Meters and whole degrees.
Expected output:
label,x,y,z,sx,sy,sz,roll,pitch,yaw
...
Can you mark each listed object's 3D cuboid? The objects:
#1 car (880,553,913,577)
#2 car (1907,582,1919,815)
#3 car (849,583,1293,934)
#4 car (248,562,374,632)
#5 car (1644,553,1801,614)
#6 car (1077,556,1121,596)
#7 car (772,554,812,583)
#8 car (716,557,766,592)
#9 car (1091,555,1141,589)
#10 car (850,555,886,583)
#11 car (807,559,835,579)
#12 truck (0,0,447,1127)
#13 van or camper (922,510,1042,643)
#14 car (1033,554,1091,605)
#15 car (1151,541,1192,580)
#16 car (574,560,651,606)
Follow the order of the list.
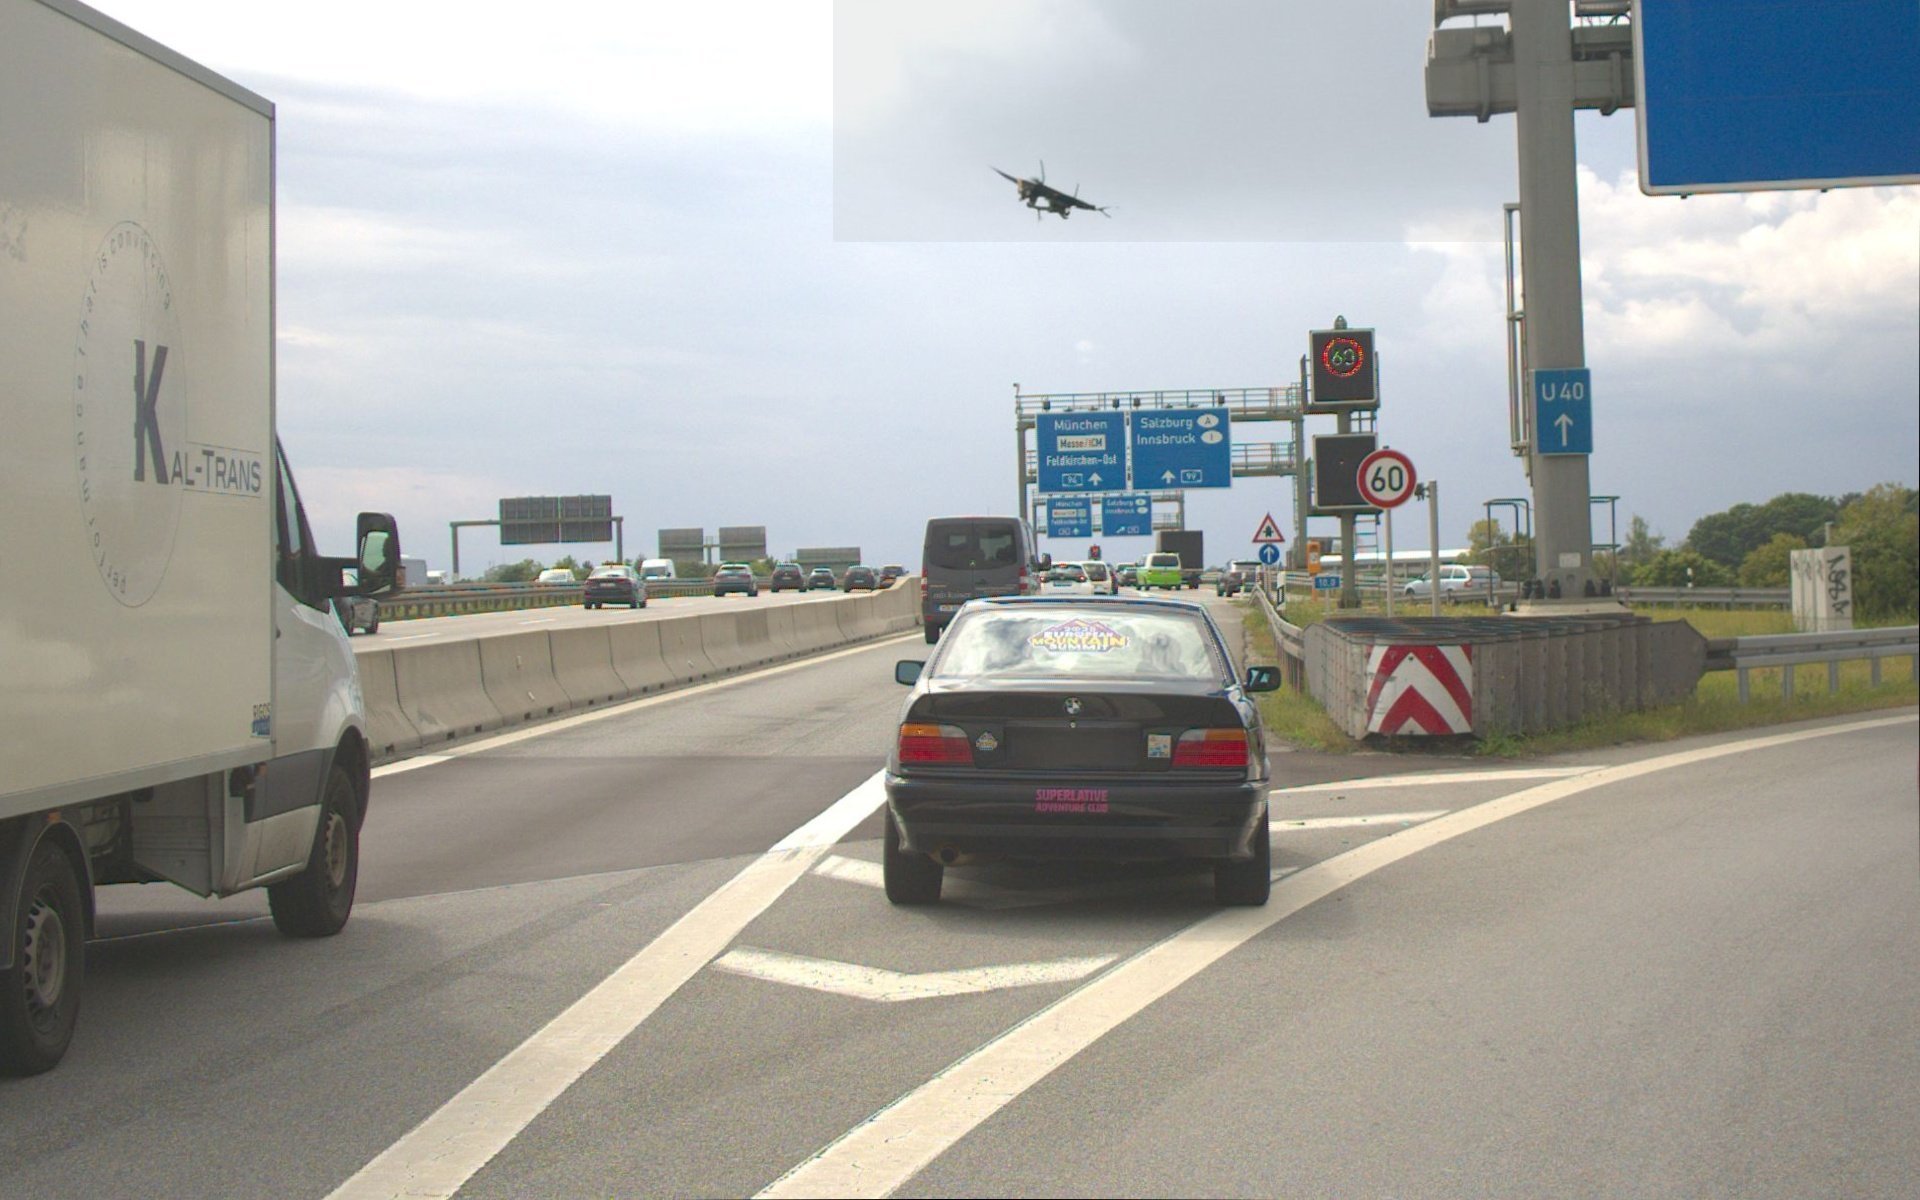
label,x,y,z,sx,sy,sz,roll,pitch,yaw
car,-4.575,-2.535,248.792,1.994,1.678,4.866,-1,1,3
car,7.237,0.589,22.198,1.731,1.414,3.661,0,0,22
car,0.562,0.637,16.016,1.782,1.373,4.136,-1,1,3
car,-13.986,-0.090,74.296,1.772,1.445,4.384,0,1,1
car,22.677,-0.499,102.347,1.994,1.766,4.245,-1,1,-39
car,5.226,-0.915,129.032,1.585,1.479,3.535,-1,1,3
car,-9.621,-1.790,196.972,1.901,1.633,4.233,0,1,2
car,-10.486,-1.230,164.939,1.901,1.634,4.645,0,1,2
car,7.080,-1.283,155.892,1.994,1.463,3.999,-1,1,6
car,-5.118,-1.726,191.586,1.774,1.525,4.000,-1,1,2
car,-9.283,-2.081,229.998,1.553,1.371,4.000,0,1,2
truck,-3.579,-0.194,11.717,2.404,3.079,6.370,0,1,3
van or camper,0.466,-0.460,64.814,1.999,2.362,6.126,-1,1,3
car,3.089,-0.625,103.797,1.701,1.503,3.840,-1,1,2
car,11.205,-2.087,182.290,1.993,2.007,4.000,-1,1,1
car,-11.791,-0.588,116.841,2.059,1.522,4.568,0,1,1
